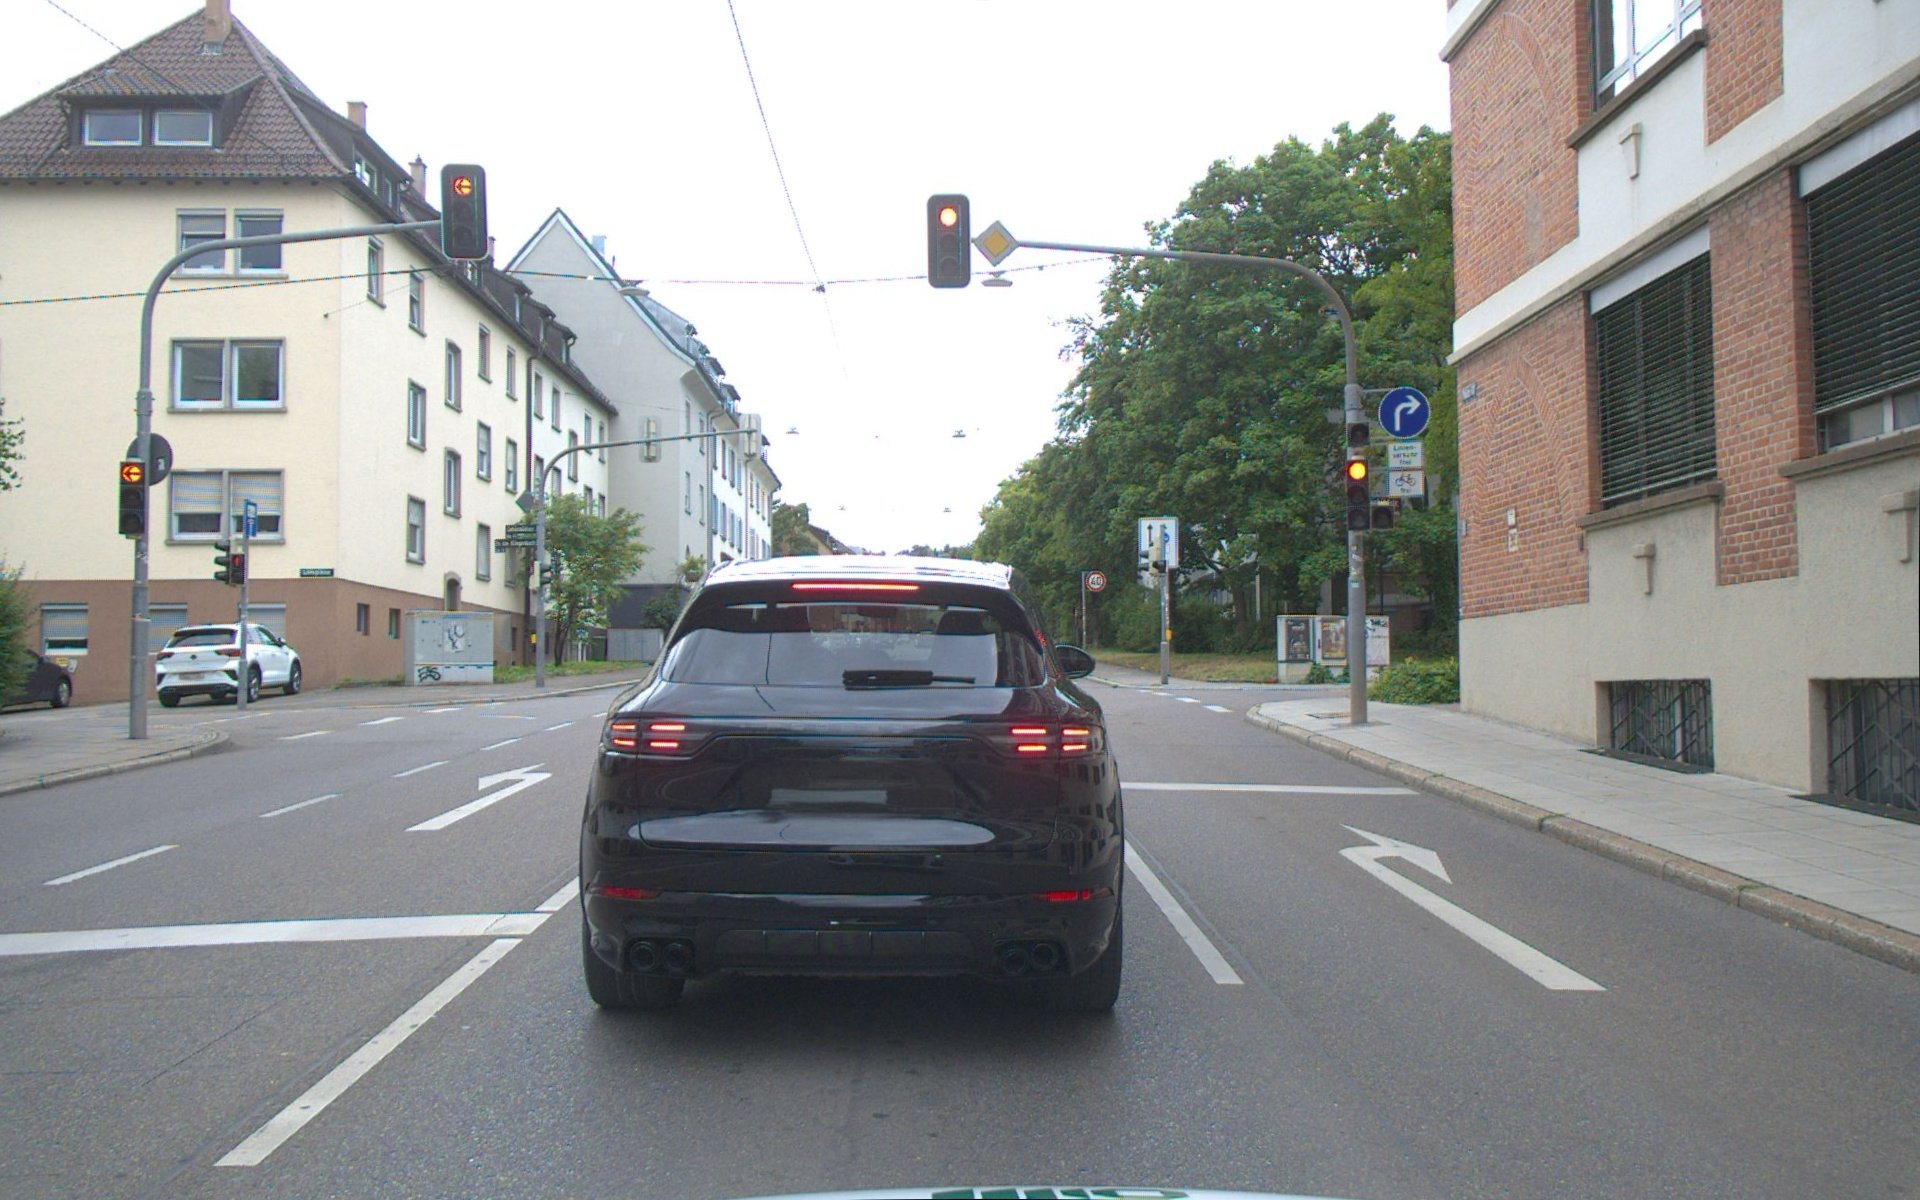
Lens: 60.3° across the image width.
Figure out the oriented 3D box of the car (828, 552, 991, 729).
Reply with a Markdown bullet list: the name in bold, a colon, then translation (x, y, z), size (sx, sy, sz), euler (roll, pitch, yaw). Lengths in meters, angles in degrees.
- **car**: translation (-0.622, 0.479, 21.879), size (1.925, 2.078, 4.134), euler (1, 0, -1)

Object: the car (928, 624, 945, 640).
- **car**: translation (-2.563, 3.469, 182.390), size (1.790, 1.633, 4.134), euler (1, 0, -1)

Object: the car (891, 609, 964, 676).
- **car**: translation (-0.837, 1.081, 43.790), size (1.790, 1.633, 4.134), euler (1, 0, -1)

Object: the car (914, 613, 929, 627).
- **car**: translation (-4.677, 2.495, 202.834), size (1.790, 1.633, 4.134), euler (1, 0, -1)

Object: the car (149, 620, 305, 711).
- **car**: translation (-14.717, 1.277, 33.398), size (1.658, 1.582, 3.762), euler (-3, 0, -5)

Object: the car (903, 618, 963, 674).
- **car**: translation (-0.841, 1.436, 52.503), size (1.790, 1.633, 3.858), euler (1, 0, -1)

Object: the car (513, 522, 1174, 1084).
- **car**: translation (-0.374, 0.622, 7.232), size (2.007, 1.695, 4.266), euler (1, 0, -1)

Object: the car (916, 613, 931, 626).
- **car**: translation (-4.603, 2.446, 210.161), size (1.790, 1.633, 4.134), euler (1, 0, -1)

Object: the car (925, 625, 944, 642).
- **car**: translation (-2.496, 3.300, 163.218), size (1.790, 1.633, 4.134), euler (1, 0, -1)

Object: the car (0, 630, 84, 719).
- **car**: translation (-19.630, 1.522, 33.760), size (1.658, 1.636, 3.762), euler (-3, 0, -5)
